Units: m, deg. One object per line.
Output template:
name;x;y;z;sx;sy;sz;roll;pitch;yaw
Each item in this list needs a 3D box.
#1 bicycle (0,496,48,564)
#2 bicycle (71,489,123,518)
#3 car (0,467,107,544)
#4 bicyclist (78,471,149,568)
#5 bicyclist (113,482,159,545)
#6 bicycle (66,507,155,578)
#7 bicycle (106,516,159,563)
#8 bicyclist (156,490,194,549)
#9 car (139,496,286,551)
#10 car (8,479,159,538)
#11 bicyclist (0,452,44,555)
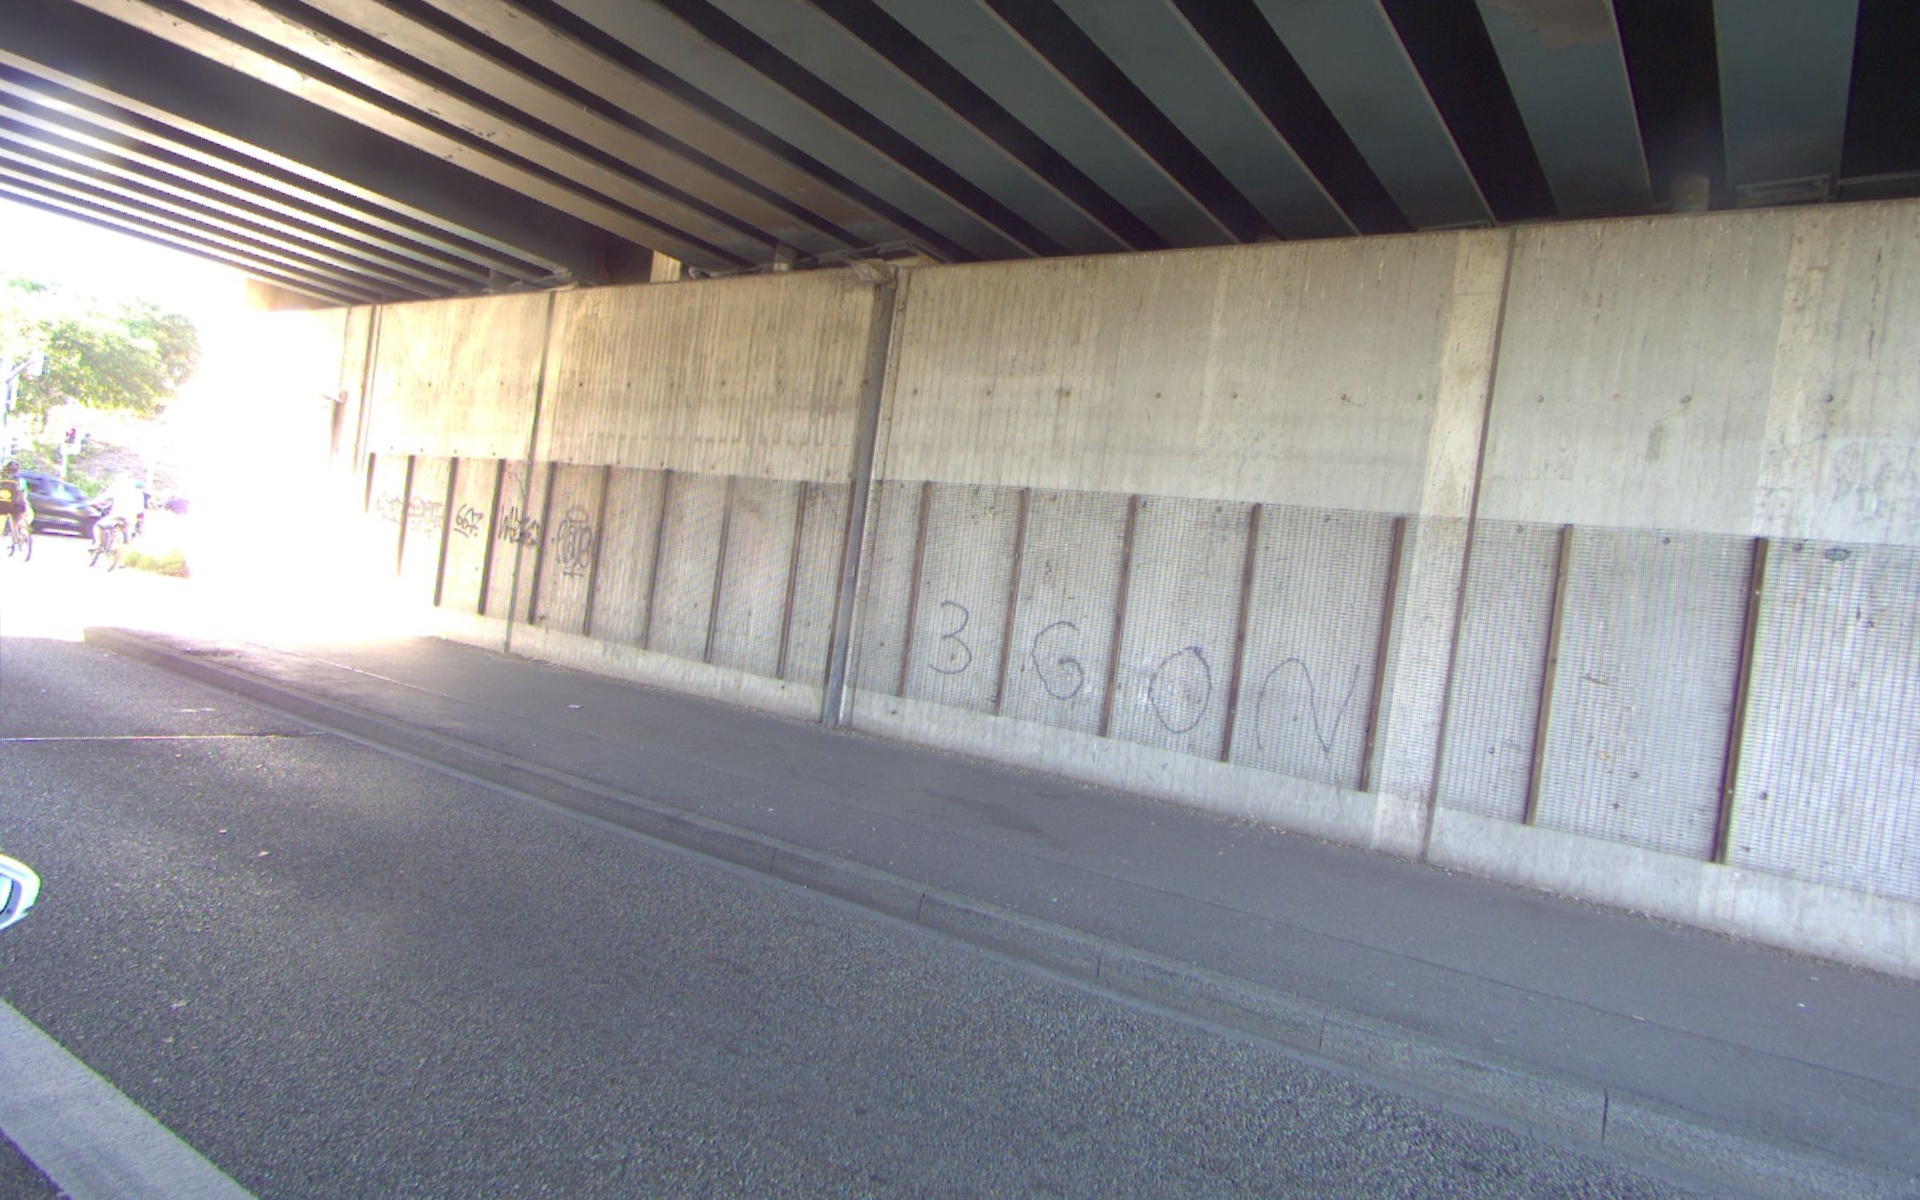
bicycle;-16.204;-1.218;17.029;1.721;1.035;0.593;6;-1;32
bicycle;-41.072;-4.579;47.897;0.586;1.035;1.743;6;-2;43
car;-25.551;-2.627;27.131;1.694;1.727;3.980;7;-1;-3
bicyclist;-14.680;-1.390;17.445;0.756;1.566;0.593;6;-1;32
bicyclist;-21.230;-2.233;25.924;0.740;1.491;0.664;6;-1;41
bicycle;-14.725;-1.006;17.428;1.721;1.035;0.593;6;-1;32
bicycle;-21.374;-1.566;25.962;2.027;1.035;0.671;6;-2;42
bicyclist;-21.716;-2.222;27.832;0.647;1.499;0.610;8;0;-43
car;-31.407;-3.194;42.384;1.801;1.531;4.548;6;-3;39
car;-31.538;-3.263;36.284;1.669;1.465;3.748;7;-1;36
bicyclist;-16.165;-1.645;17.025;0.927;1.632;0.593;6;-1;32
